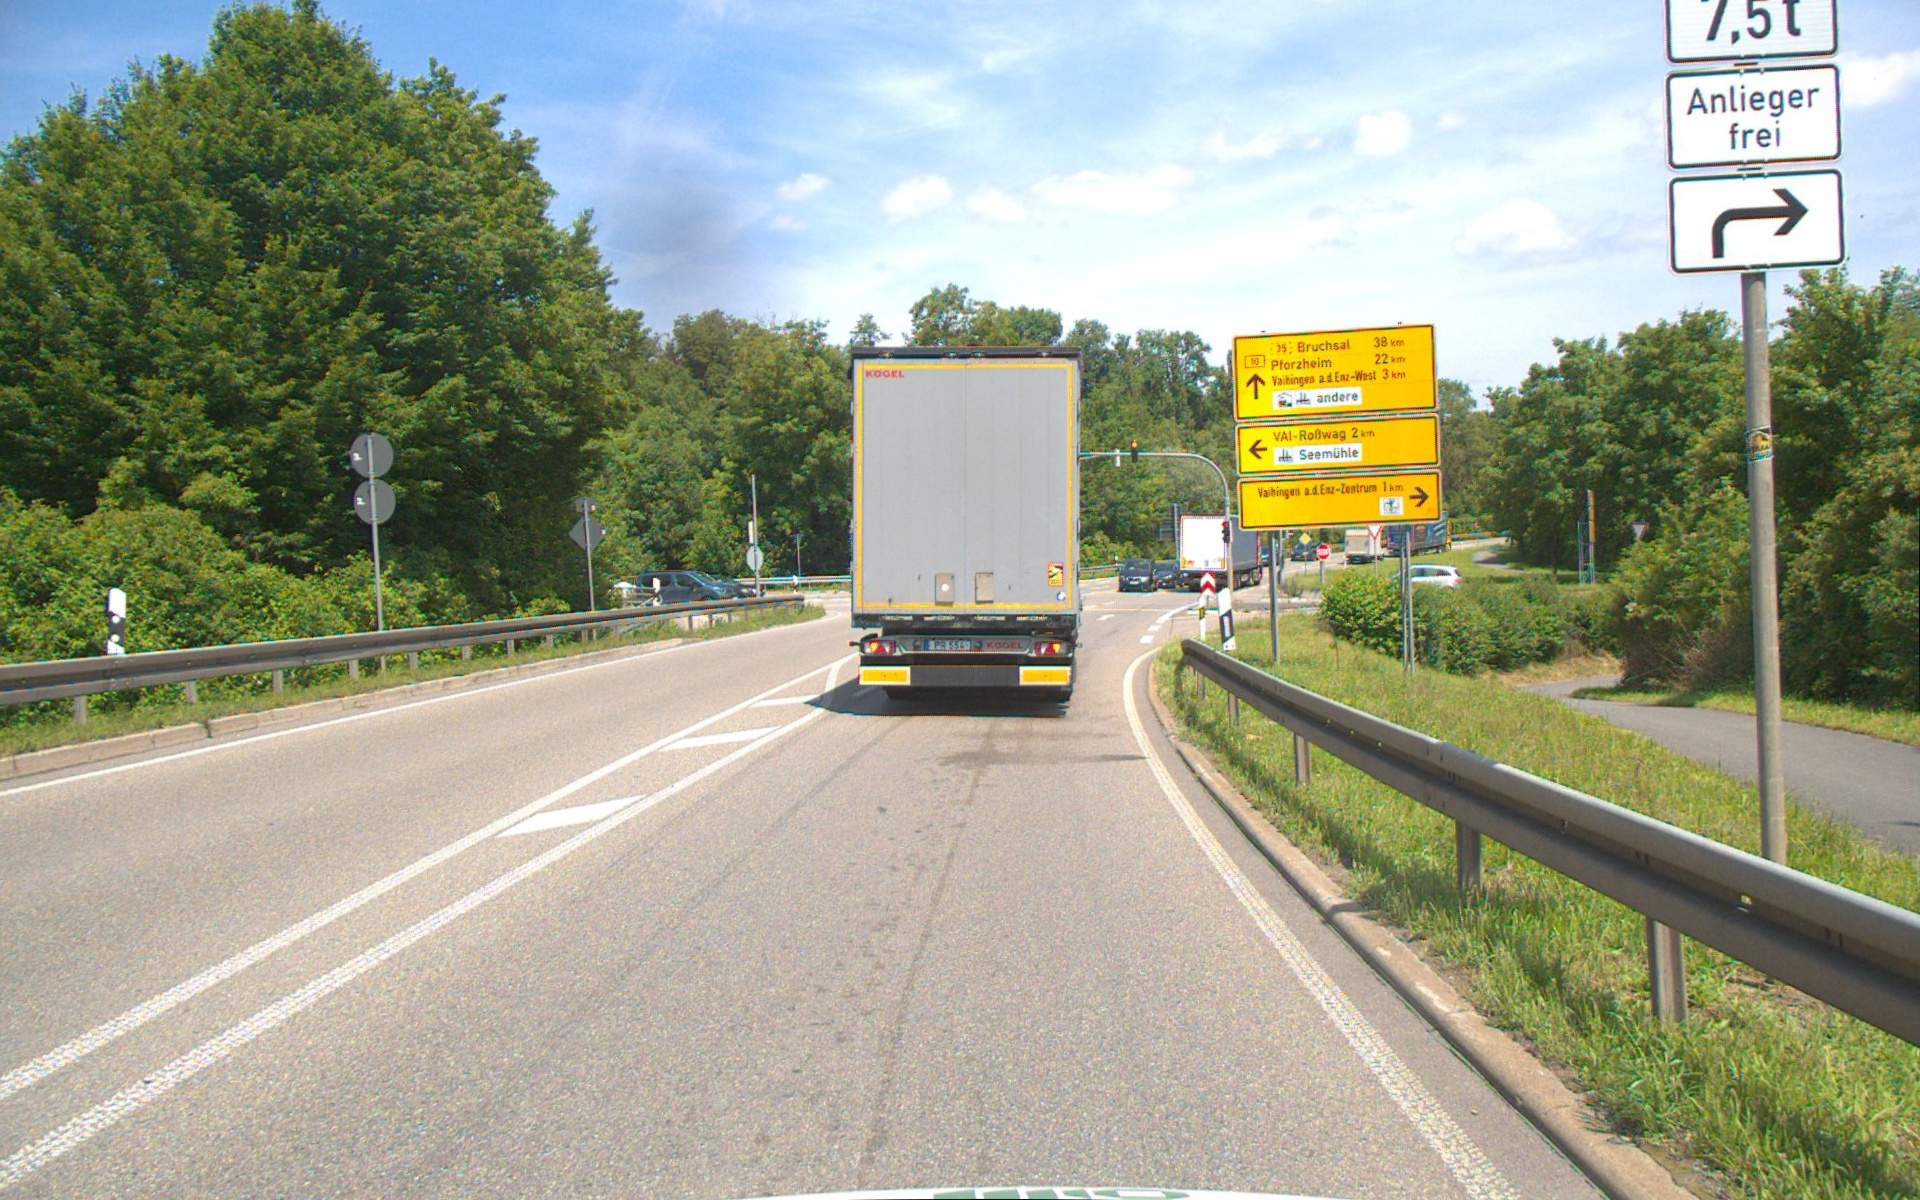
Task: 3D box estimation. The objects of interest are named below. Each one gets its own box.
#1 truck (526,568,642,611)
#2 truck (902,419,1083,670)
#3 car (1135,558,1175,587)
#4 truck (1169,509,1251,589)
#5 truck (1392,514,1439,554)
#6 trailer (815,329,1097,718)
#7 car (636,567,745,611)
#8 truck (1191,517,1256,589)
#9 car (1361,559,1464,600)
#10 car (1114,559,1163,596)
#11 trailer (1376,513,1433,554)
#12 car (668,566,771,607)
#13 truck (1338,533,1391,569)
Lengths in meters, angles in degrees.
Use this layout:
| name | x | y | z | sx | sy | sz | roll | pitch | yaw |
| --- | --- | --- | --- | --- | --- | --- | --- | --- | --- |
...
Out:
| name | x | y | z | sx | sy | sz | roll | pitch | yaw |
| --- | --- | --- | --- | --- | --- | --- | --- | --- | --- |
| truck | -16.792 | -0.459 | 74.071 | 4.781 | 1.823 | 2.041 | 1 | -1 | -6 |
| truck | 0.720 | -0.933 | 30.456 | 2.974 | 4.104 | 6.632 | 0 | 0 | 3 |
| car | 11.228 | -1.561 | 95.018 | 1.951 | 1.517 | 4.261 | 1 | -1 | 11 |
| truck | 13.970 | -2.677 | 91.570 | 3.112 | 4.099 | 11.753 | 0 | 0 | 15 |
| truck | 44.595 | -6.390 | 161.789 | 3.189 | 3.749 | 6.236 | 1 | 1 | 28 |
| trailer | 0.319 | -0.863 | 23.825 | 2.988 | 4.104 | 12.564 | 0 | 1 | 3 |
| car | -11.419 | -0.468 | 70.162 | 4.144 | 1.801 | 2.001 | 0 | 1 | 17 |
| truck | 15.519 | -2.693 | 97.164 | 3.101 | 4.074 | 5.819 | 0 | 0 | 15 |
| car | 20.234 | -0.902 | 74.153 | 4.333 | 1.748 | 2.002 | 1 | -1 | 12 |
| car | 9.555 | -1.157 | 88.296 | 1.951 | 1.816 | 4.946 | 1 | -1 | 13 |
| trailer | 42.483 | -6.255 | 157.865 | 3.189 | 3.749 | 9.238 | 1 | 1 | 28 |
| car | -10.776 | -0.593 | 74.249 | 4.144 | 1.801 | 2.001 | 0 | 1 | 17 |
| truck | 35.069 | -4.197 | 143.093 | 2.801 | 2.999 | 7.095 | 1 | 1 | 28 |
